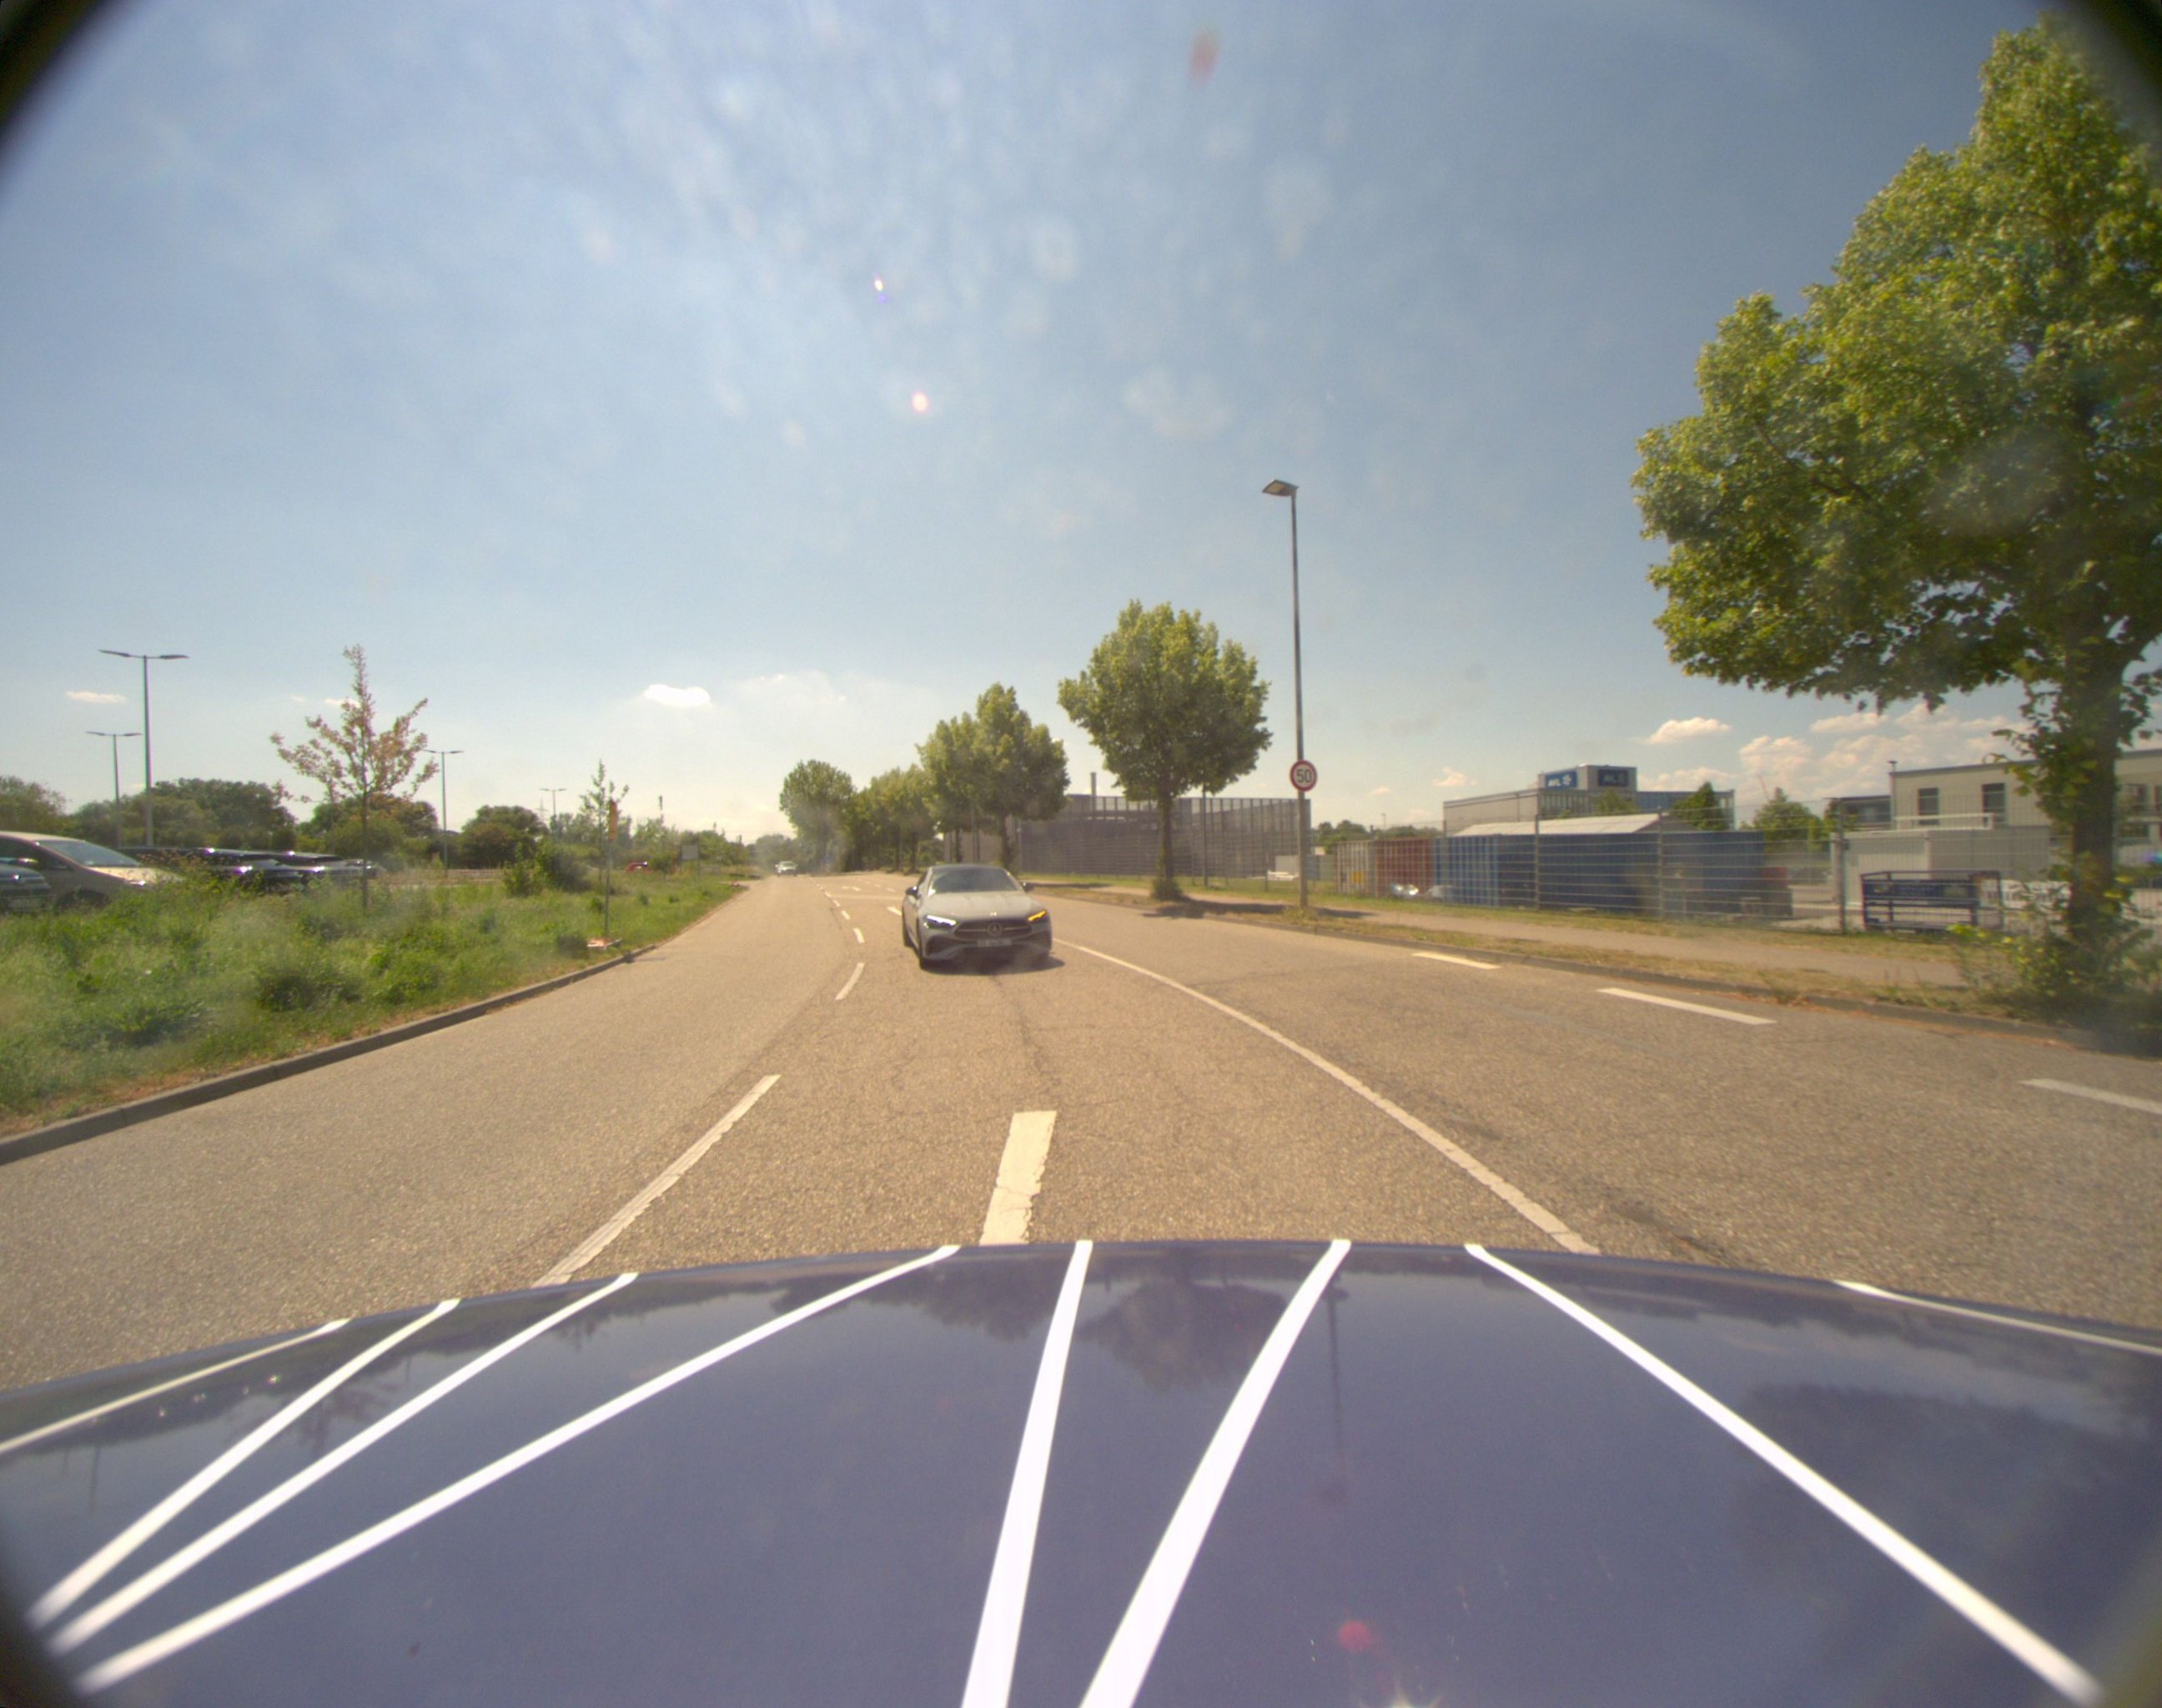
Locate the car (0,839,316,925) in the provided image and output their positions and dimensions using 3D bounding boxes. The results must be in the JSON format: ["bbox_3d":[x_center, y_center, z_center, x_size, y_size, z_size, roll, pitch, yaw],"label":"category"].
[{"bbox_3d":[-18.414,0.503,14.912,4.407,1.536,1.812,0,0,-22],"label":"car"}]

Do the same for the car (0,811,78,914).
[{"bbox_3d":[-16.804,0.304,9.928,4.043,1.422,1.684,-6,3,-23],"label":"car"}]

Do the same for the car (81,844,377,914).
[{"bbox_3d":[-19.181,0.498,17.385,4.003,1.284,1.905,-3,2,-20],"label":"car"}]

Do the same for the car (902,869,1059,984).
[{"bbox_3d":[-1.834,0.985,12.293,1.899,1.375,4.627,-2,0,-15],"label":"car"}]

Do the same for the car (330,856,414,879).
[{"bbox_3d":[-50.653,0.963,54.343,4.004,1.344,1.643,-3,2,-25],"label":"car"}]

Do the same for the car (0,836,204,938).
[{"bbox_3d":[-17.774,0.522,12.621,3.854,1.614,1.614,0,0,-24],"label":"car"}]

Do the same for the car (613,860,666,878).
[{"bbox_3d":[-40.780,1.375,70.297,4.004,1.344,1.643,-3,2,-25],"label":"car"}]

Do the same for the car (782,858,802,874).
[{"bbox_3d":[-27.834,1.118,73.190,1.675,1.367,4.489,-4,2,-20],"label":"car"}]
